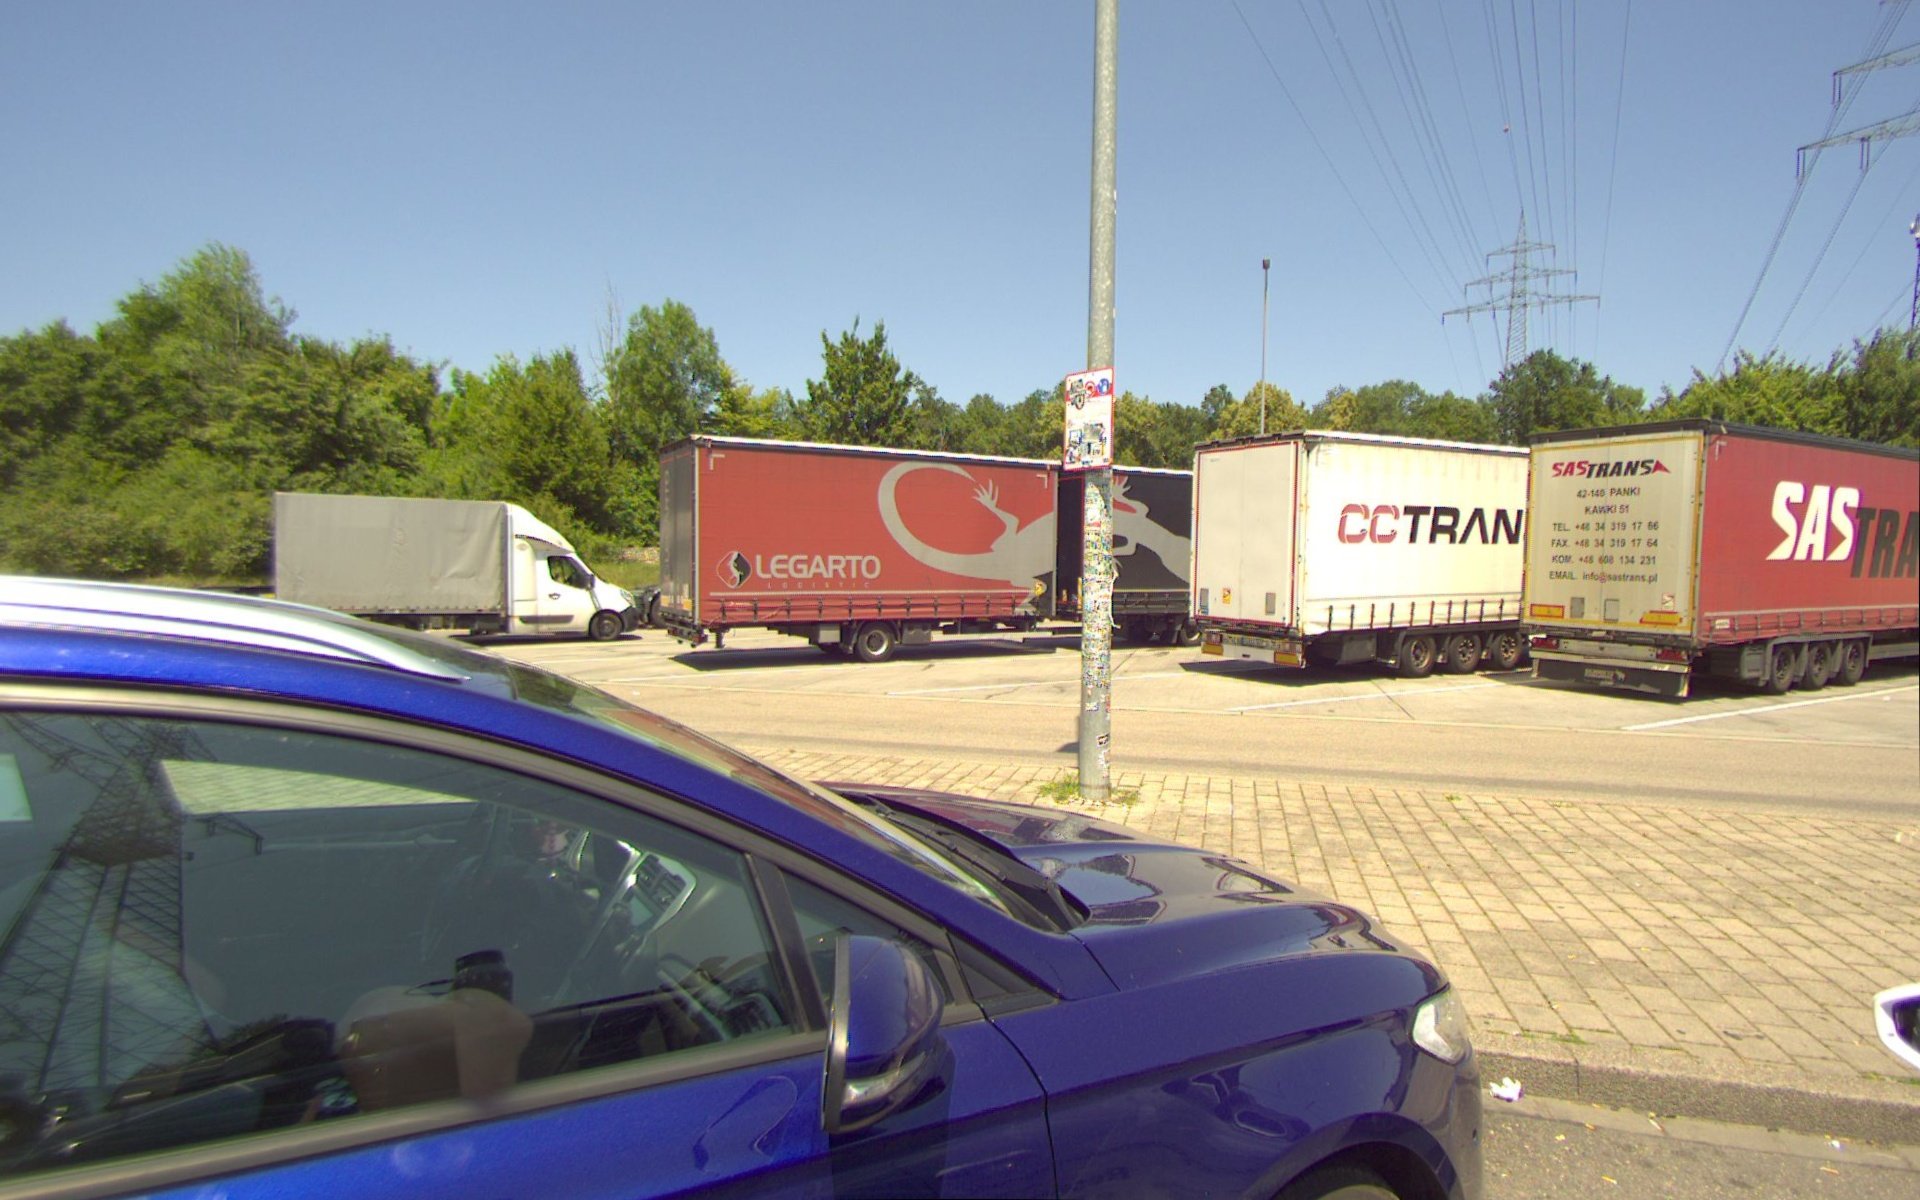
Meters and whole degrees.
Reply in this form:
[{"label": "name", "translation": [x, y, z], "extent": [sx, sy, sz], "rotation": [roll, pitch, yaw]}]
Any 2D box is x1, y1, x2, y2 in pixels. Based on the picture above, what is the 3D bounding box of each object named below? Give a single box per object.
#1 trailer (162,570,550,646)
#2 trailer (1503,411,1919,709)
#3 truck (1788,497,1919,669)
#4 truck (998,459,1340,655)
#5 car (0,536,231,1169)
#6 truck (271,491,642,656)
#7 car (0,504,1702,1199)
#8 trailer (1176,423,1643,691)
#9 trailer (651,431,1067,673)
[{"label": "trailer", "translation": [-14.750, 0.106, 25.245], "extent": [8.007, 1.648, 2.199], "rotation": [-1, 3, -30]}, {"label": "trailer", "translation": [15.466, -0.674, 18.622], "extent": [13.599, 4.127, 2.807], "rotation": [-1, 3, -31]}, {"label": "truck", "translation": [21.258, -0.402, 22.059], "extent": [5.903, 3.409, 2.798], "rotation": [-1, 3, -30]}, {"label": "truck", "translation": [5.272, -0.997, 24.550], "extent": [8.586, 4.127, 2.693], "rotation": [-1, 3, -30]}, {"label": "car", "translation": [-4.413, 0.584, 2.100], "extent": [4.522, 1.526, 1.743], "rotation": [0, 2, -32]}, {"label": "truck", "translation": [-11.239, -0.621, 23.006], "extent": [7.187, 3.289, 2.694], "rotation": [-1, 3, -29]}, {"label": "car", "translation": [-0.972, 0.657, 1.463], "extent": [4.522, 1.491, 1.743], "rotation": [0, 2, -32]}, {"label": "trailer", "translation": [8.973, -0.768, 19.356], "extent": [10.264, 4.158, 2.693], "rotation": [-1, 3, -30]}, {"label": "trailer", "translation": [-1.881, -0.901, 20.342], "extent": [8.007, 4.127, 2.693], "rotation": [-1, 3, -30]}]
